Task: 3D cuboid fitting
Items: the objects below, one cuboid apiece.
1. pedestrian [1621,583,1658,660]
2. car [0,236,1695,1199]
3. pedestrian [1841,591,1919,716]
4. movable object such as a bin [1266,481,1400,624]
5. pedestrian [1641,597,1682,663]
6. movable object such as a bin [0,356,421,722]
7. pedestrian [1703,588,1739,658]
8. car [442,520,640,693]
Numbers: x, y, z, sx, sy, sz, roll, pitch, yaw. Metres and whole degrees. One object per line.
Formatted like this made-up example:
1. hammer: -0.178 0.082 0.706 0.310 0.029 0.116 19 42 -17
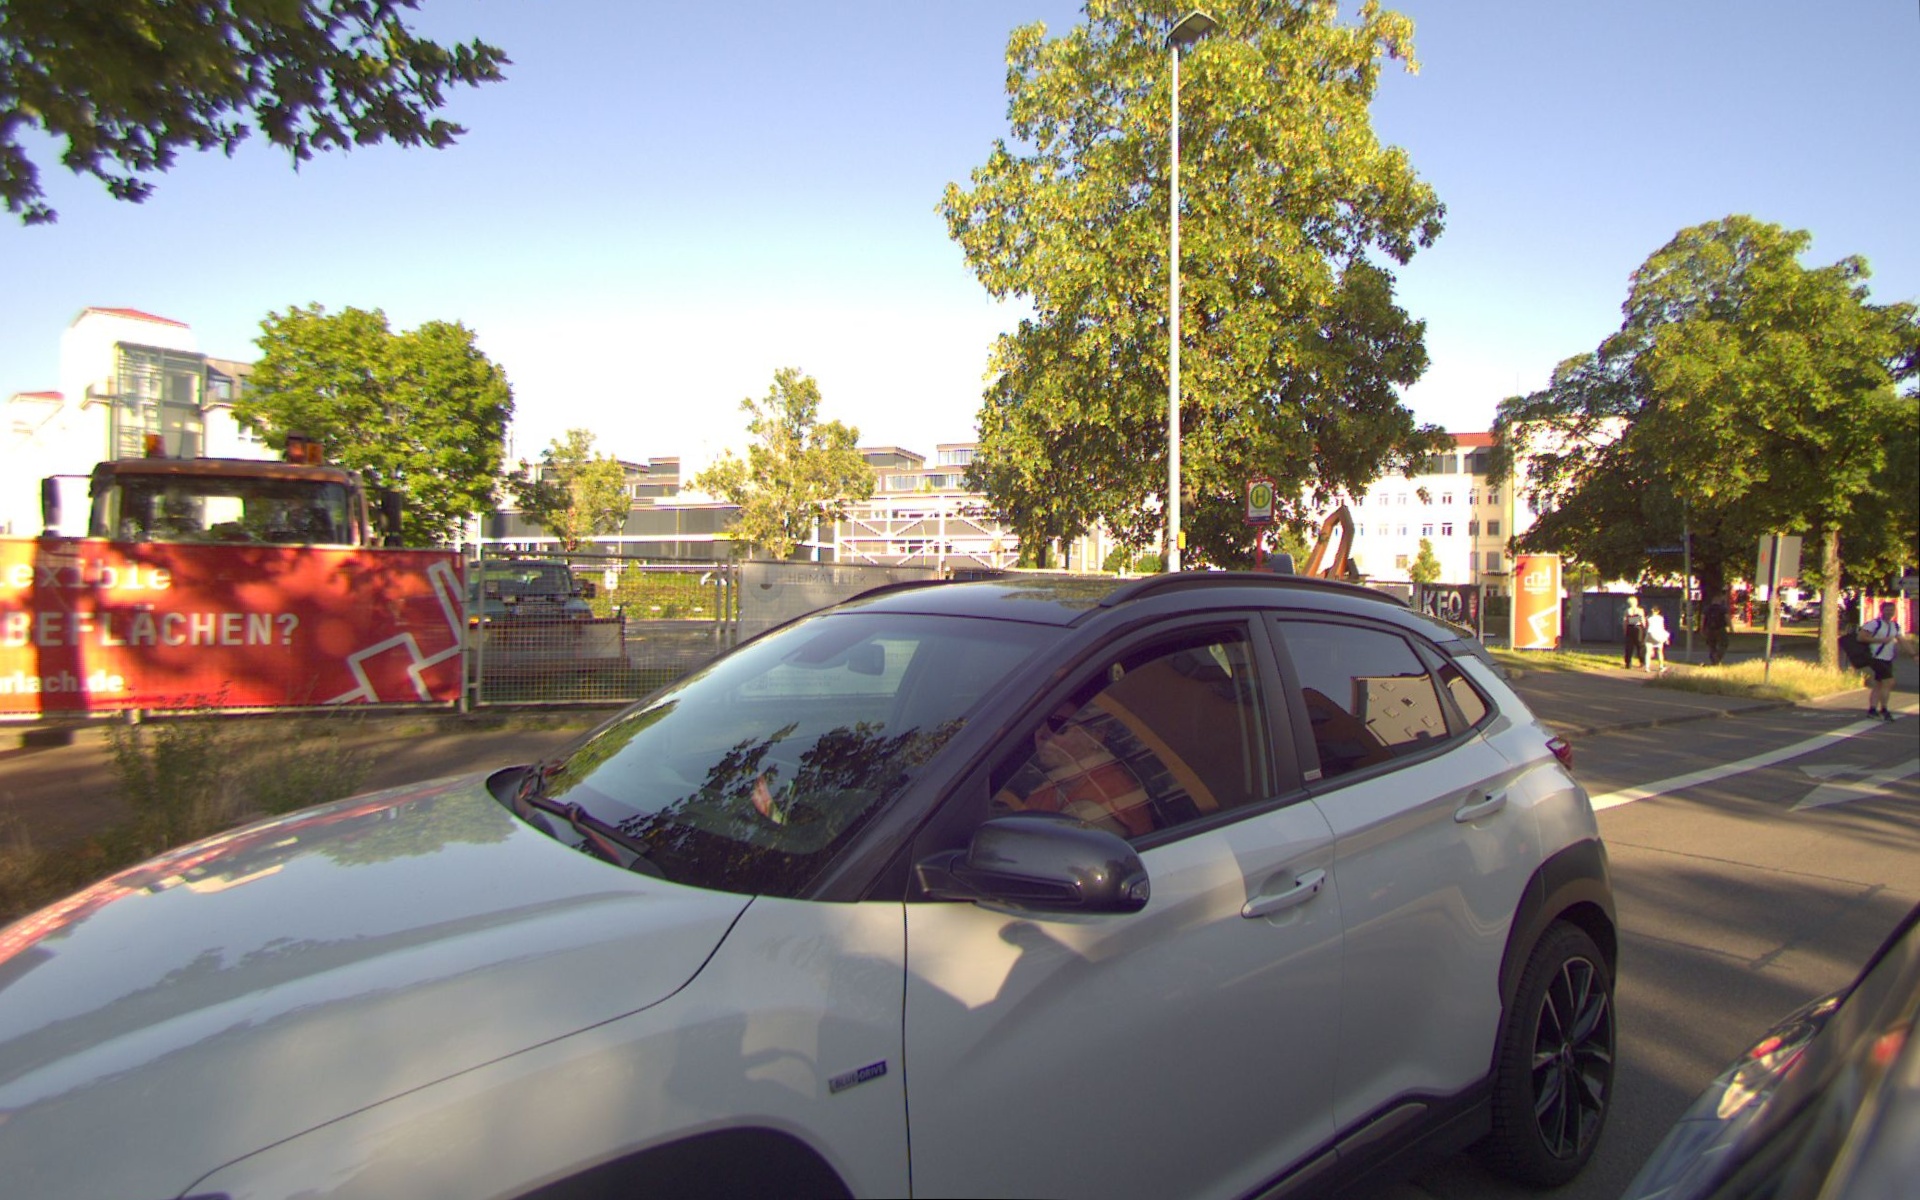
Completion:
1. pedestrian: 15.717 0.484 23.417 0.607 1.759 0.629 0 0 44
2. car: 0.018 0.620 2.423 3.893 1.618 1.894 3 -2 -39
3. pedestrian: 13.599 0.747 14.760 0.894 1.759 1.078 0 0 28
4. movable object such as a bin: 15.532 -1.881 42.762 3.910 5.547 6.022 0 0 6
5. pedestrian: 15.688 0.662 22.637 0.627 1.452 0.609 0 0 -40
6. movable object such as a bin: -8.384 -0.547 12.056 3.154 3.087 6.295 0 0 -31
7. pedestrian: 18.779 0.558 24.977 0.692 1.689 0.630 0 0 38
8. car: -5.660 0.045 13.295 2.001 1.851 4.612 0 0 -28
